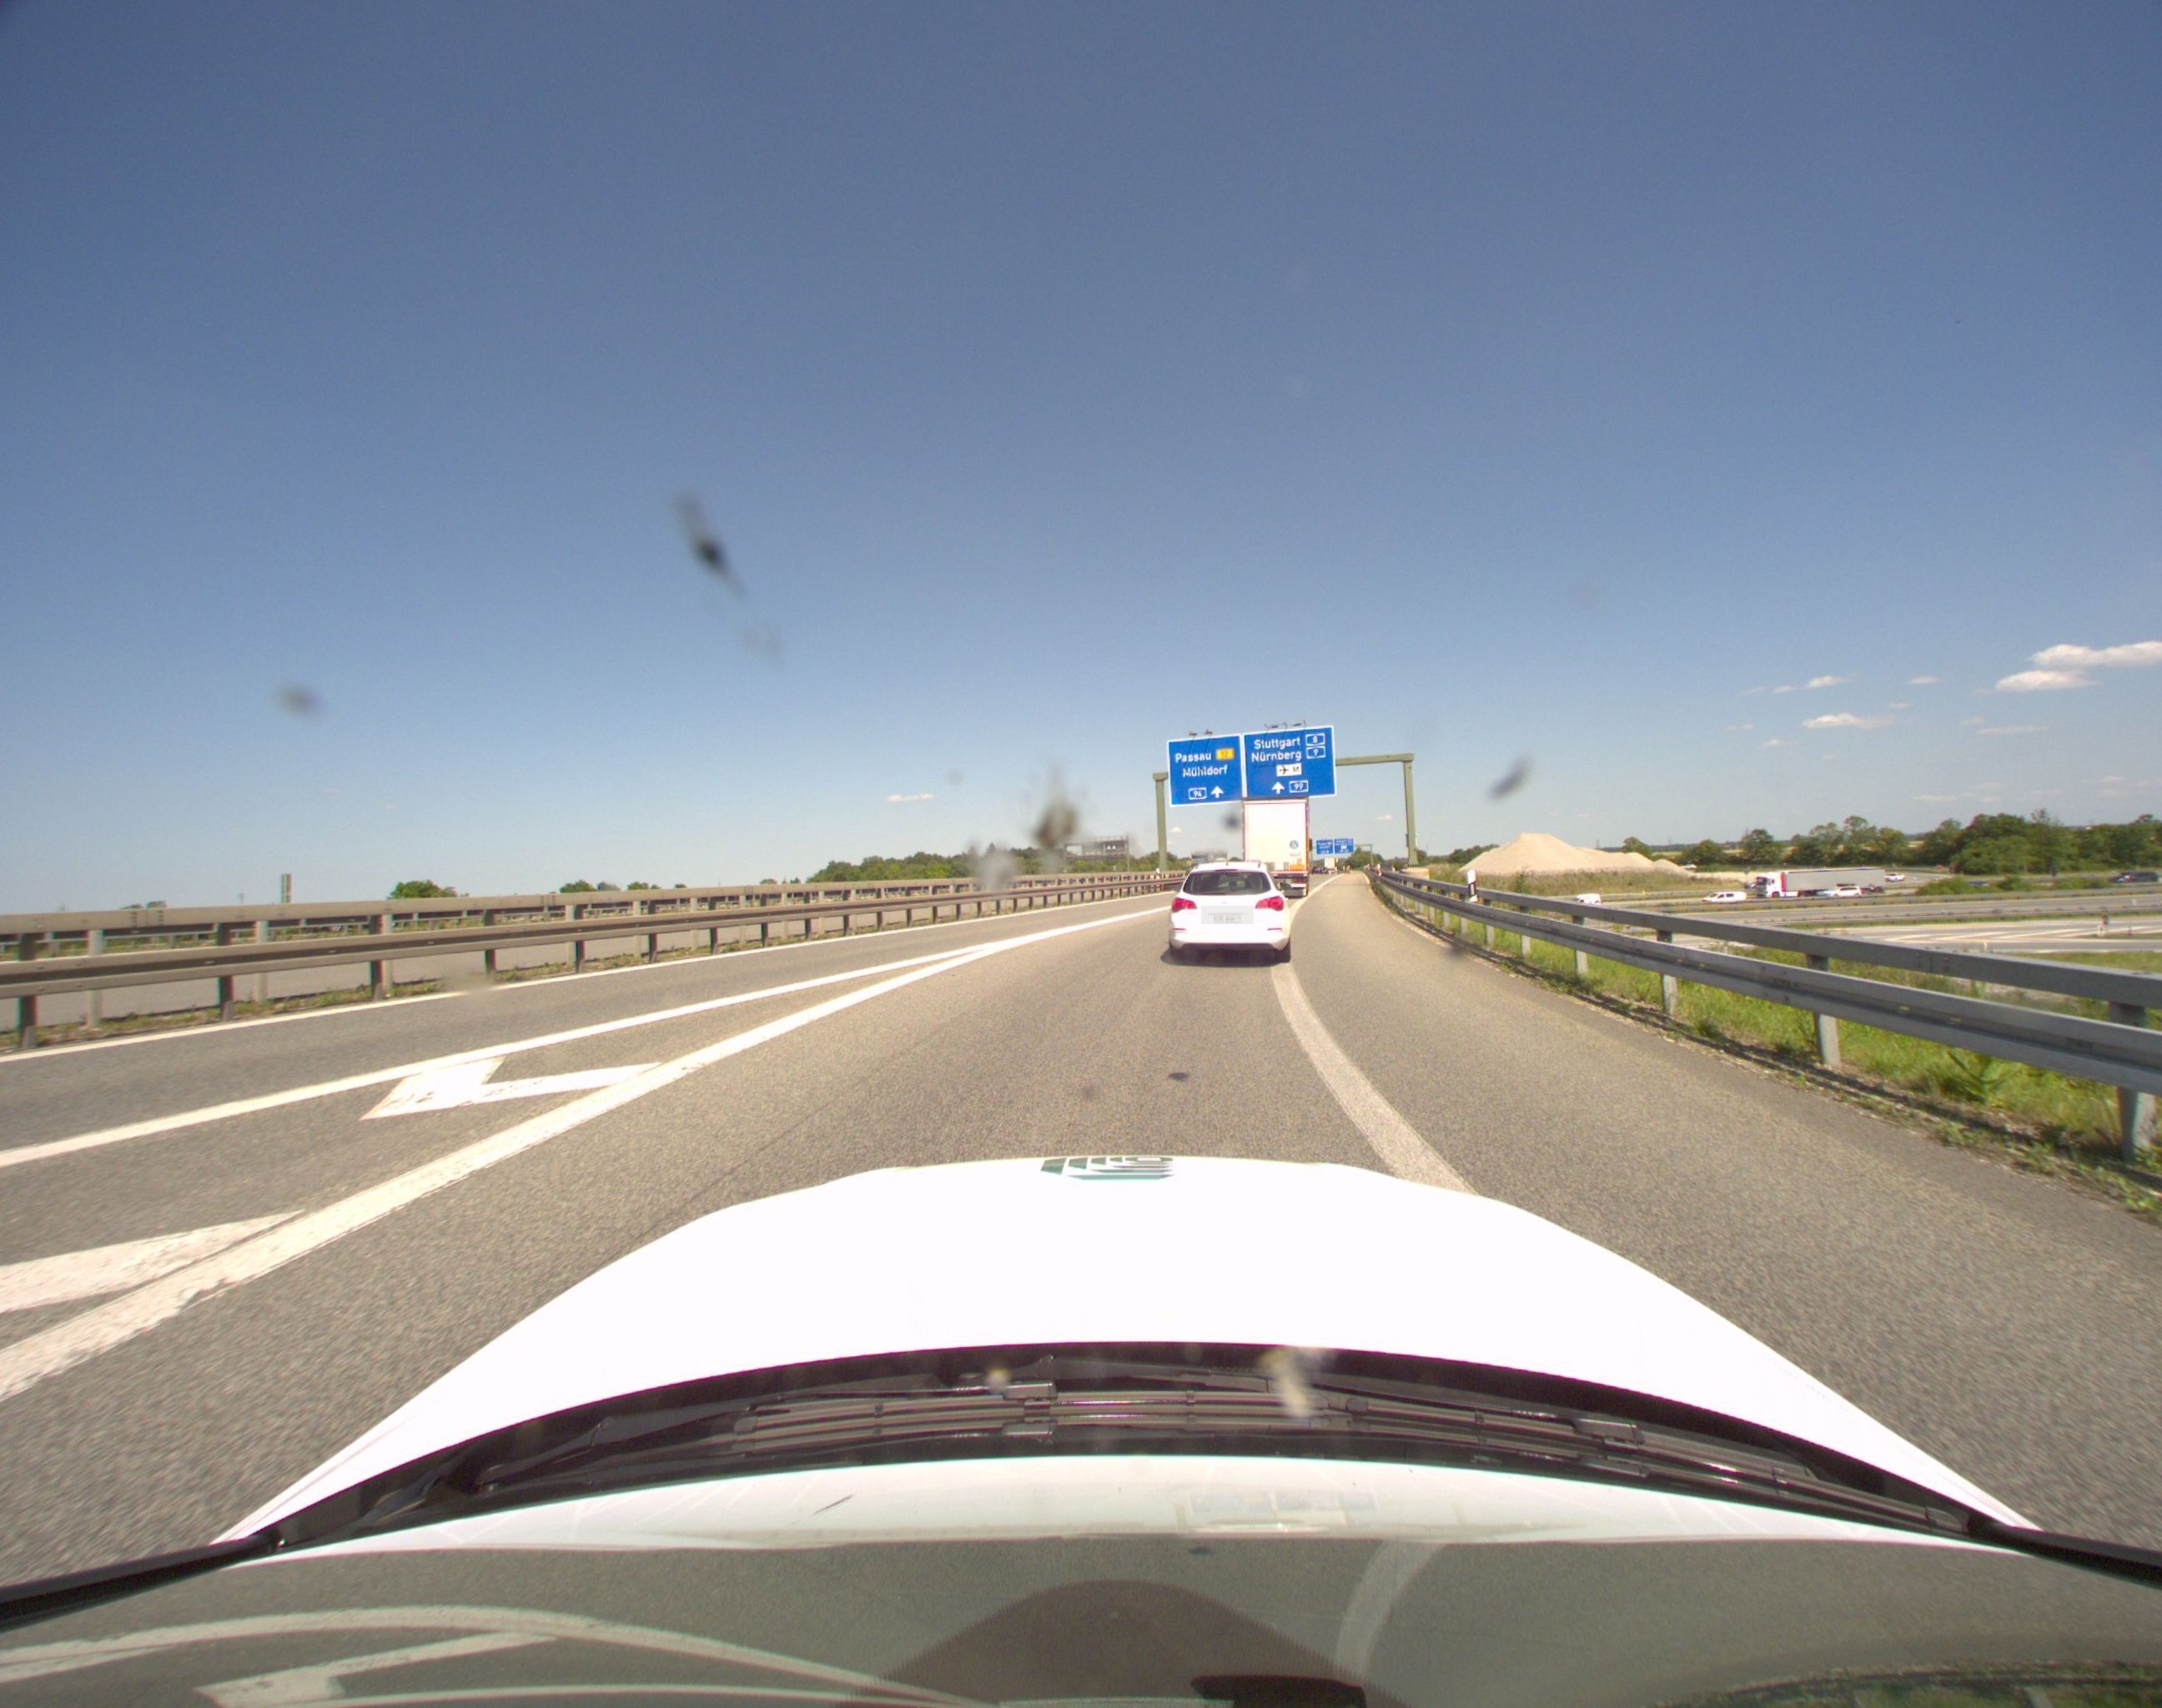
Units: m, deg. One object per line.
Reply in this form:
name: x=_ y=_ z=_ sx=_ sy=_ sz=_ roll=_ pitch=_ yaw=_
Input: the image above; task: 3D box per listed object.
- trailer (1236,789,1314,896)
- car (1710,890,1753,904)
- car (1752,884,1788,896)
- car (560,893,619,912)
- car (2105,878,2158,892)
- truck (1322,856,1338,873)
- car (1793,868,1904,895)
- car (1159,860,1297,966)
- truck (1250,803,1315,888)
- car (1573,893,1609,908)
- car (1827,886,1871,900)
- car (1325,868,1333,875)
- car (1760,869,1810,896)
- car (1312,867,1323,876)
trailer: x=9.098 y=-0.274 z=37.427 sx=2.891 sy=4.146 sz=11.302 roll=-1 pitch=-2 yaw=15
car: x=93.186 y=6.123 z=116.666 sx=4.369 sy=2.014 sz=2.005 roll=0 pitch=-2 yaw=9
car: x=119.307 y=6.211 z=141.113 sx=4.369 sy=2.014 sz=2.005 roll=0 pitch=-2 yaw=9
car: x=-37.556 y=3.690 z=62.341 sx=1.610 sy=1.357 sz=3.633 roll=-3 pitch=-4 yaw=19
car: x=147.848 y=4.334 z=114.615 sx=4.369 sy=2.014 sz=2.005 roll=0 pitch=-2 yaw=9
truck: x=65.103 y=2.706 z=212.824 sx=3.510 sy=4.146 sz=11.309 roll=1 pitch=-1 yaw=18
car: x=114.554 y=4.087 z=121.732 sx=12.894 sy=3.964 sz=2.489 roll=0 pitch=-2 yaw=8
car: x=2.480 y=0.849 z=13.394 sx=1.842 sy=1.443 sz=4.386 roll=-1 pitch=-1 yaw=12
truck: x=10.983 y=-0.306 z=43.868 sx=2.889 sy=4.146 sz=6.956 roll=-1 pitch=-2 yaw=17
car: x=74.044 y=6.772 z=118.303 sx=3.961 sy=2.014 sz=1.809 roll=0 pitch=-1 yaw=11
car: x=112.200 y=5.701 z=119.024 sx=4.369 sy=2.014 sz=2.005 roll=0 pitch=-2 yaw=9
car: x=57.683 y=4.090 z=189.548 sx=1.640 sy=1.380 sz=4.019 roll=1 pitch=-1 yaw=20
car: x=106.239 y=4.269 z=122.960 sx=5.113 sy=3.964 sz=2.489 roll=0 pitch=-2 yaw=9
car: x=41.499 y=3.081 z=142.816 sx=1.640 sy=1.380 sz=4.019 roll=1 pitch=-1 yaw=20
